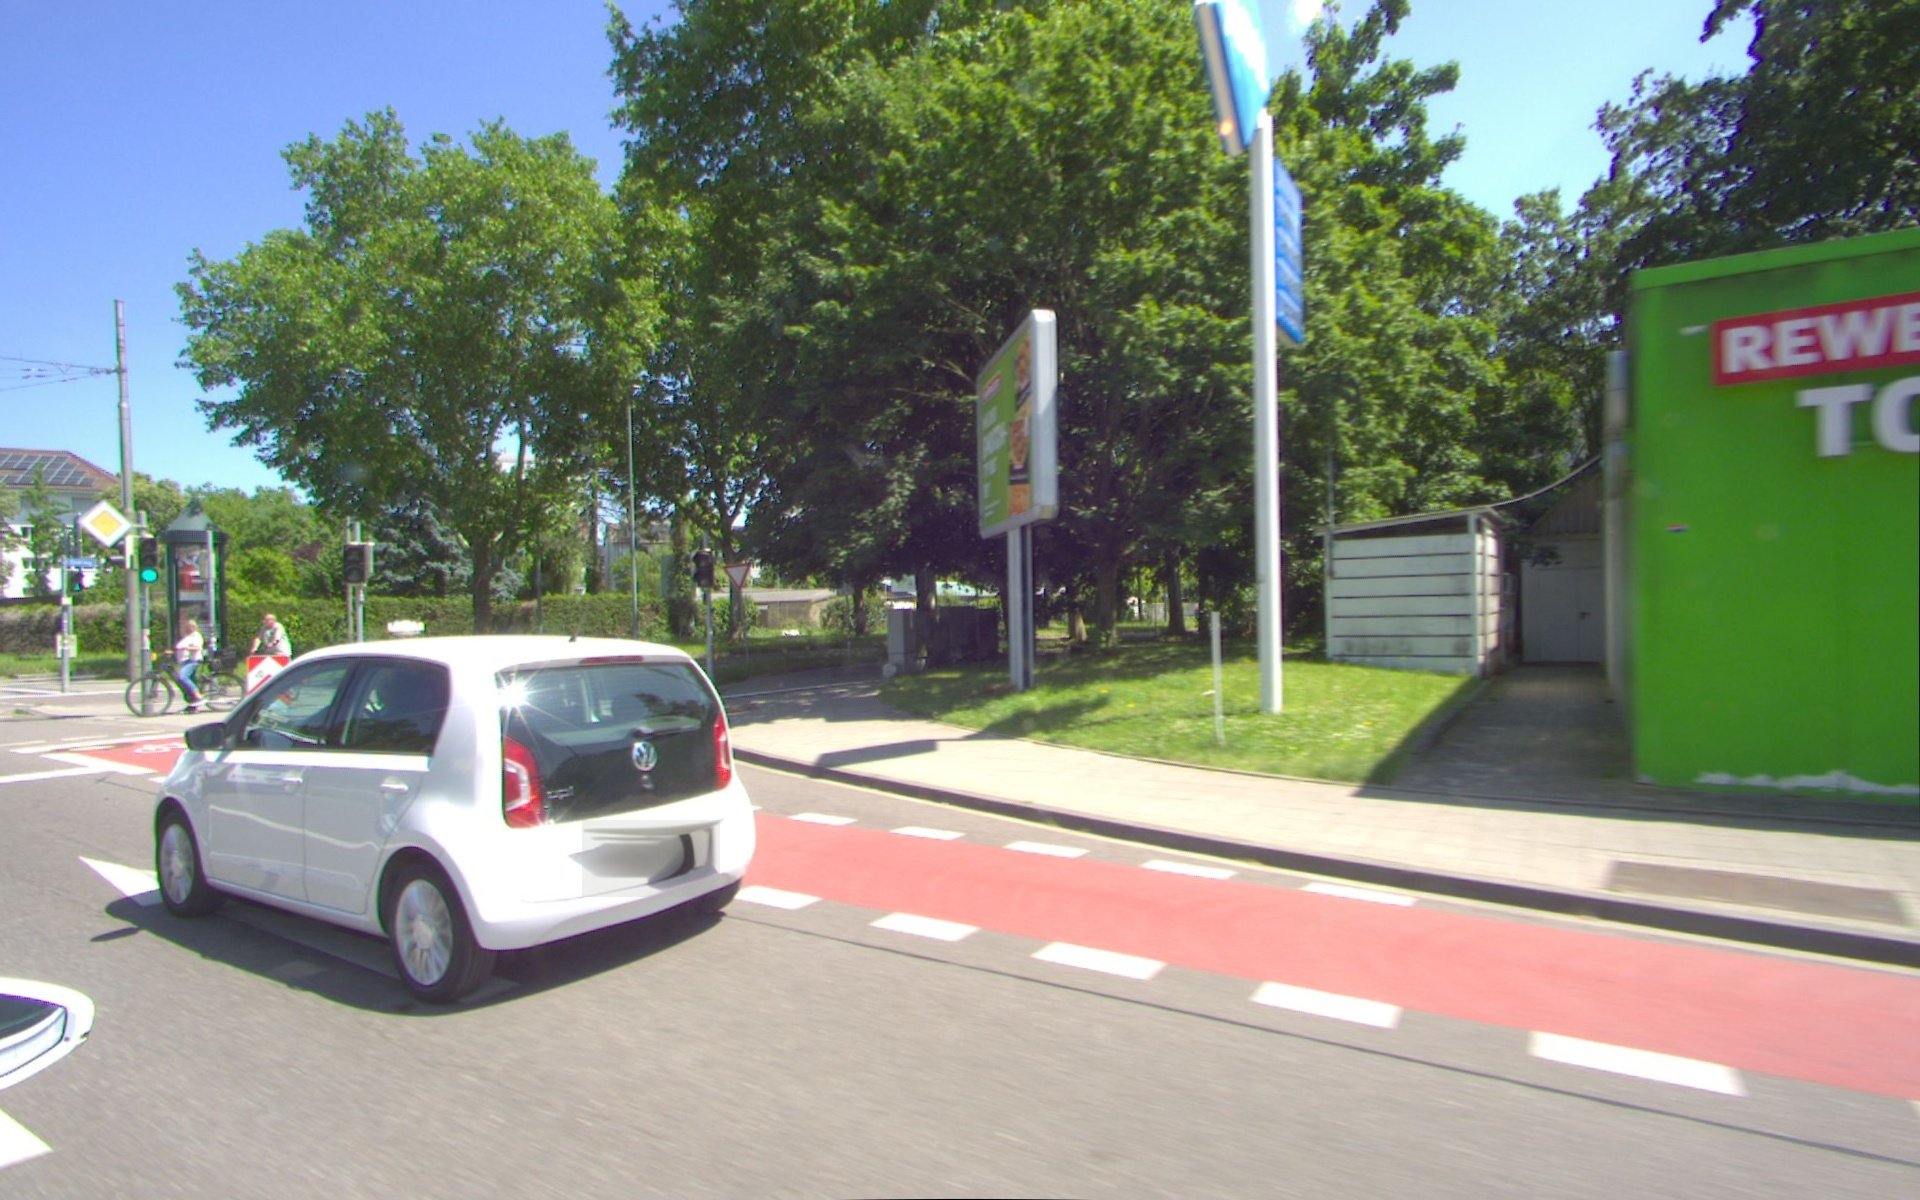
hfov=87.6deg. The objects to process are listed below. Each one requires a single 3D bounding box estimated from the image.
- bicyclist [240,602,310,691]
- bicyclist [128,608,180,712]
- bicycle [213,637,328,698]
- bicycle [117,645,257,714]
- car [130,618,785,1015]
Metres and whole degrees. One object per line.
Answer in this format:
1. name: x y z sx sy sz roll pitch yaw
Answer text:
1. bicyclist: -14.294 0.972 20.911 0.958 1.811 0.726 -1 0 8
2. bicyclist: -14.414 1.056 17.916 0.759 1.810 0.574 -1 -2 40
3. bicycle: -14.328 1.378 20.888 0.878 1.174 1.956 -1 -1 8
4. bicycle: -13.888 1.399 18.034 0.884 1.139 1.859 -1 -1 39
5. car: -2.736 0.843 5.303 3.387 1.466 1.607 -1 -2 33
